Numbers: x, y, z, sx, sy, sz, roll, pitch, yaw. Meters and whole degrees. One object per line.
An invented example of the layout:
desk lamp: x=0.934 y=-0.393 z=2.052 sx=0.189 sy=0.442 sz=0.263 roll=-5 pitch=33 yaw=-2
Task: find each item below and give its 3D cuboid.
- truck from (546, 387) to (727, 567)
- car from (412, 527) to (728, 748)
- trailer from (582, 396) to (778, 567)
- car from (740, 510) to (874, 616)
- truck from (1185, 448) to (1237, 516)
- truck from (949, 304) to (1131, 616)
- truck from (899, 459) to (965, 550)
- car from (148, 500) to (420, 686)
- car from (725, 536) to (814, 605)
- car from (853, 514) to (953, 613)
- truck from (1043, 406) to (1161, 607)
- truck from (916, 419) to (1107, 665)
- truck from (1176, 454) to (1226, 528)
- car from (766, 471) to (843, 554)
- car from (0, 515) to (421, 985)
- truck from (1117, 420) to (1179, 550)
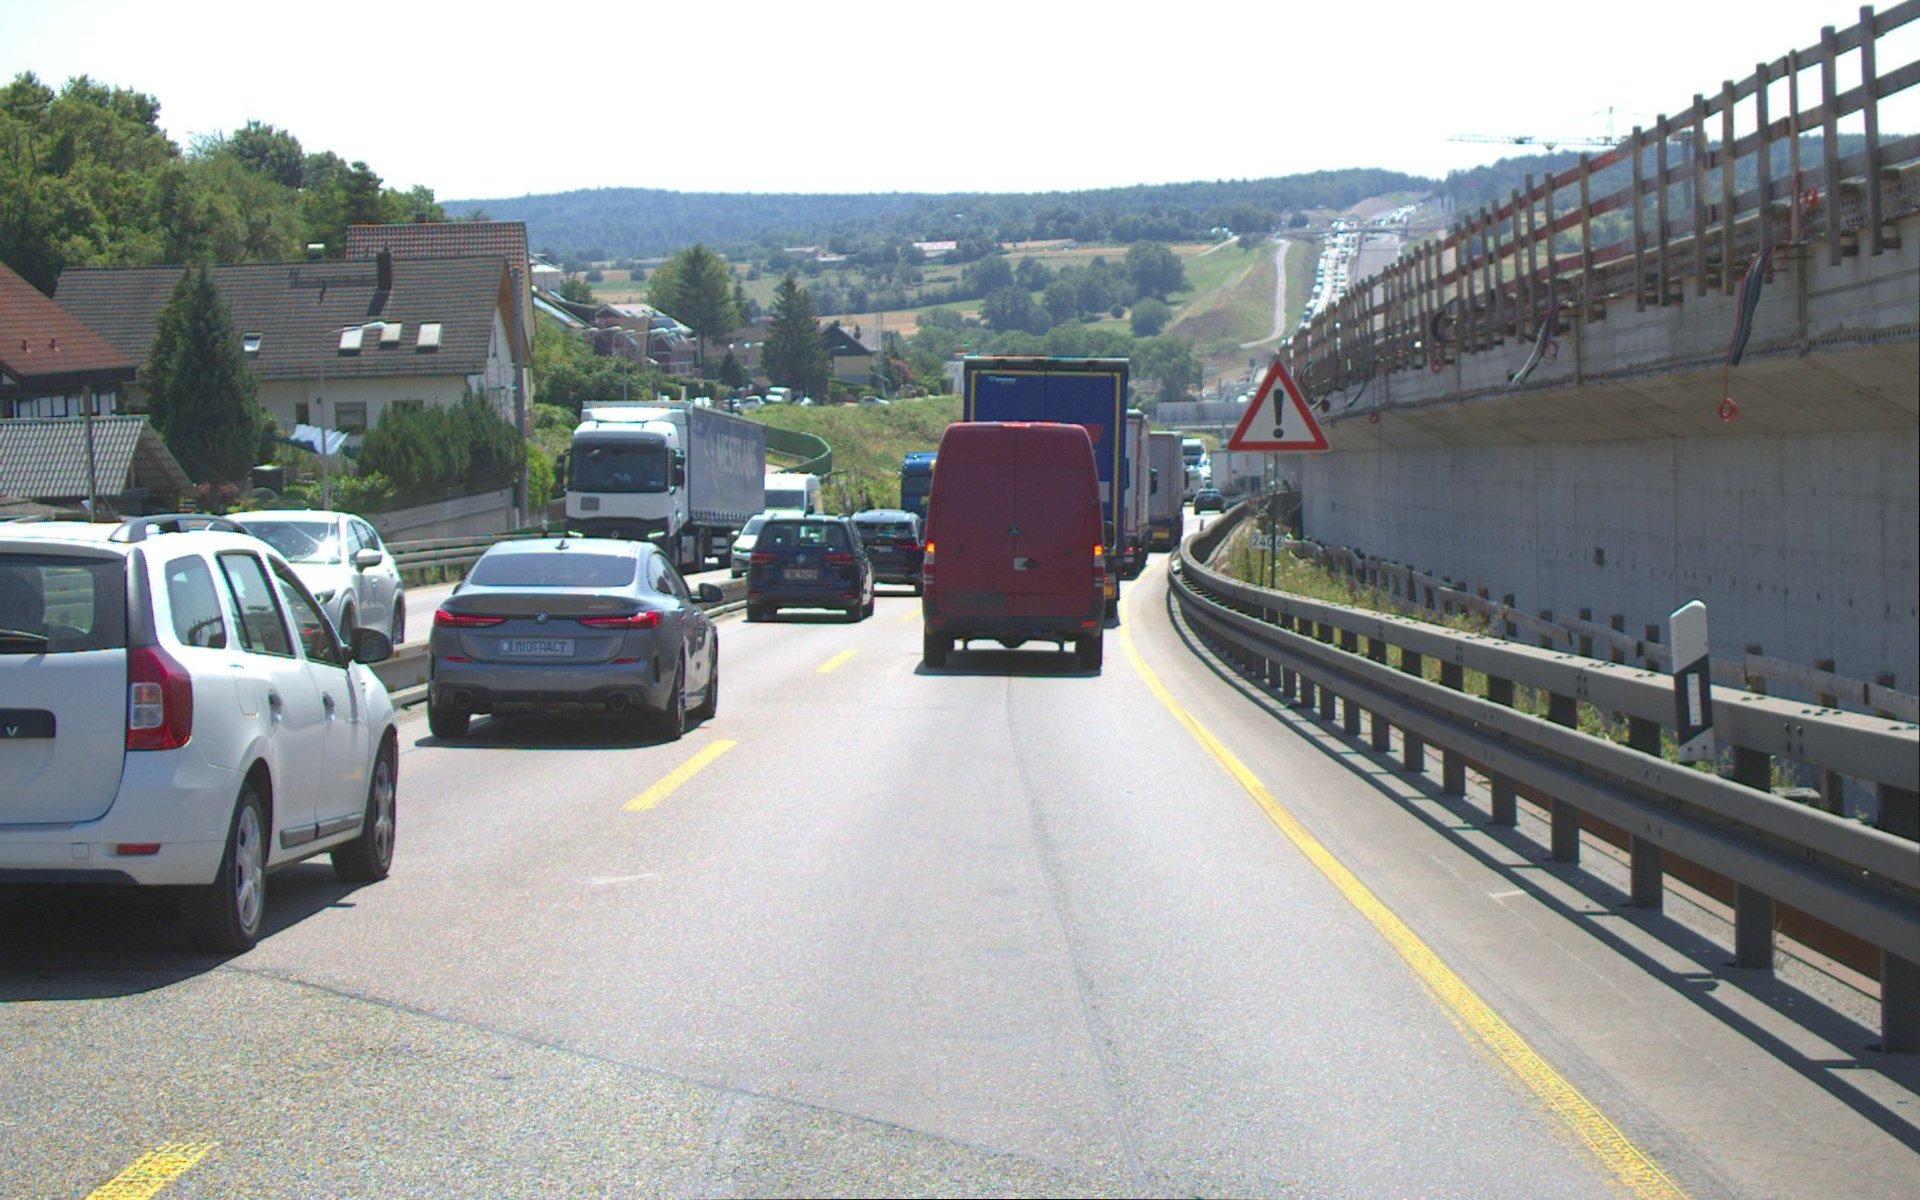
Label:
truck: x=-7.552 y=-2.870 z=81.226 sx=3.136 sy=4.065 sz=6.878 roll=0 pitch=1 yaw=4
car: x=-2.792 y=0.221 z=25.435 sx=1.795 sy=1.480 sz=4.050 roll=-1 pitch=1 yaw=1
trailer: x=-7.012 y=-2.990 z=88.061 sx=3.136 sy=4.065 sz=11.817 roll=0 pitch=2 yaw=5
car: x=-2.363 y=-0.569 z=53.957 sx=1.810 sy=1.602 sz=3.719 roll=0 pitch=0 yaw=2
truck: x=17.294 y=-8.076 z=236.341 sx=3.468 sy=4.366 sz=8.555 roll=0 pitch=0 yaw=5
truck: x=1.358 y=-2.171 z=57.874 sx=2.786 sy=4.799 sz=9.684 roll=0 pitch=0 yaw=2
truck: x=-1.229 y=-4.260 z=154.503 sx=2.509 sy=3.951 sz=5.174 roll=0 pitch=0 yaw=4
car: x=-6.500 y=-0.070 z=33.496 sx=1.750 sy=1.681 sz=4.387 roll=0 pitch=0 yaw=0
car: x=-4.434 y=-0.708 z=80.505 sx=1.671 sy=1.530 sz=4.190 roll=0 pitch=2 yaw=2
car: x=-1.062 y=-0.683 z=65.697 sx=1.729 sy=1.832 sz=4.000 roll=0 pitch=0 yaw=2
truck: x=3.525 y=-2.254 z=87.158 sx=2.786 sy=4.799 sz=9.684 roll=0 pitch=0 yaw=2
truck: x=0.569 y=-0.617 z=38.117 sx=1.993 sy=2.570 sz=4.000 roll=0 pitch=0 yaw=1
truck: x=15.092 y=-6.779 z=214.873 sx=3.069 sy=4.366 sz=8.555 roll=0 pitch=0 yaw=5
car: x=-4.999 y=-2.843 z=111.389 sx=2.005 sy=2.594 sz=5.979 roll=0 pitch=2 yaw=2
car: x=-3.256 y=0.474 z=13.104 sx=1.651 sy=1.478 sz=4.266 roll=-2 pitch=1 yaw=1
truck: x=6.517 y=-3.945 z=118.830 sx=1.994 sy=4.366 sz=3.999 roll=0 pitch=0 yaw=5
